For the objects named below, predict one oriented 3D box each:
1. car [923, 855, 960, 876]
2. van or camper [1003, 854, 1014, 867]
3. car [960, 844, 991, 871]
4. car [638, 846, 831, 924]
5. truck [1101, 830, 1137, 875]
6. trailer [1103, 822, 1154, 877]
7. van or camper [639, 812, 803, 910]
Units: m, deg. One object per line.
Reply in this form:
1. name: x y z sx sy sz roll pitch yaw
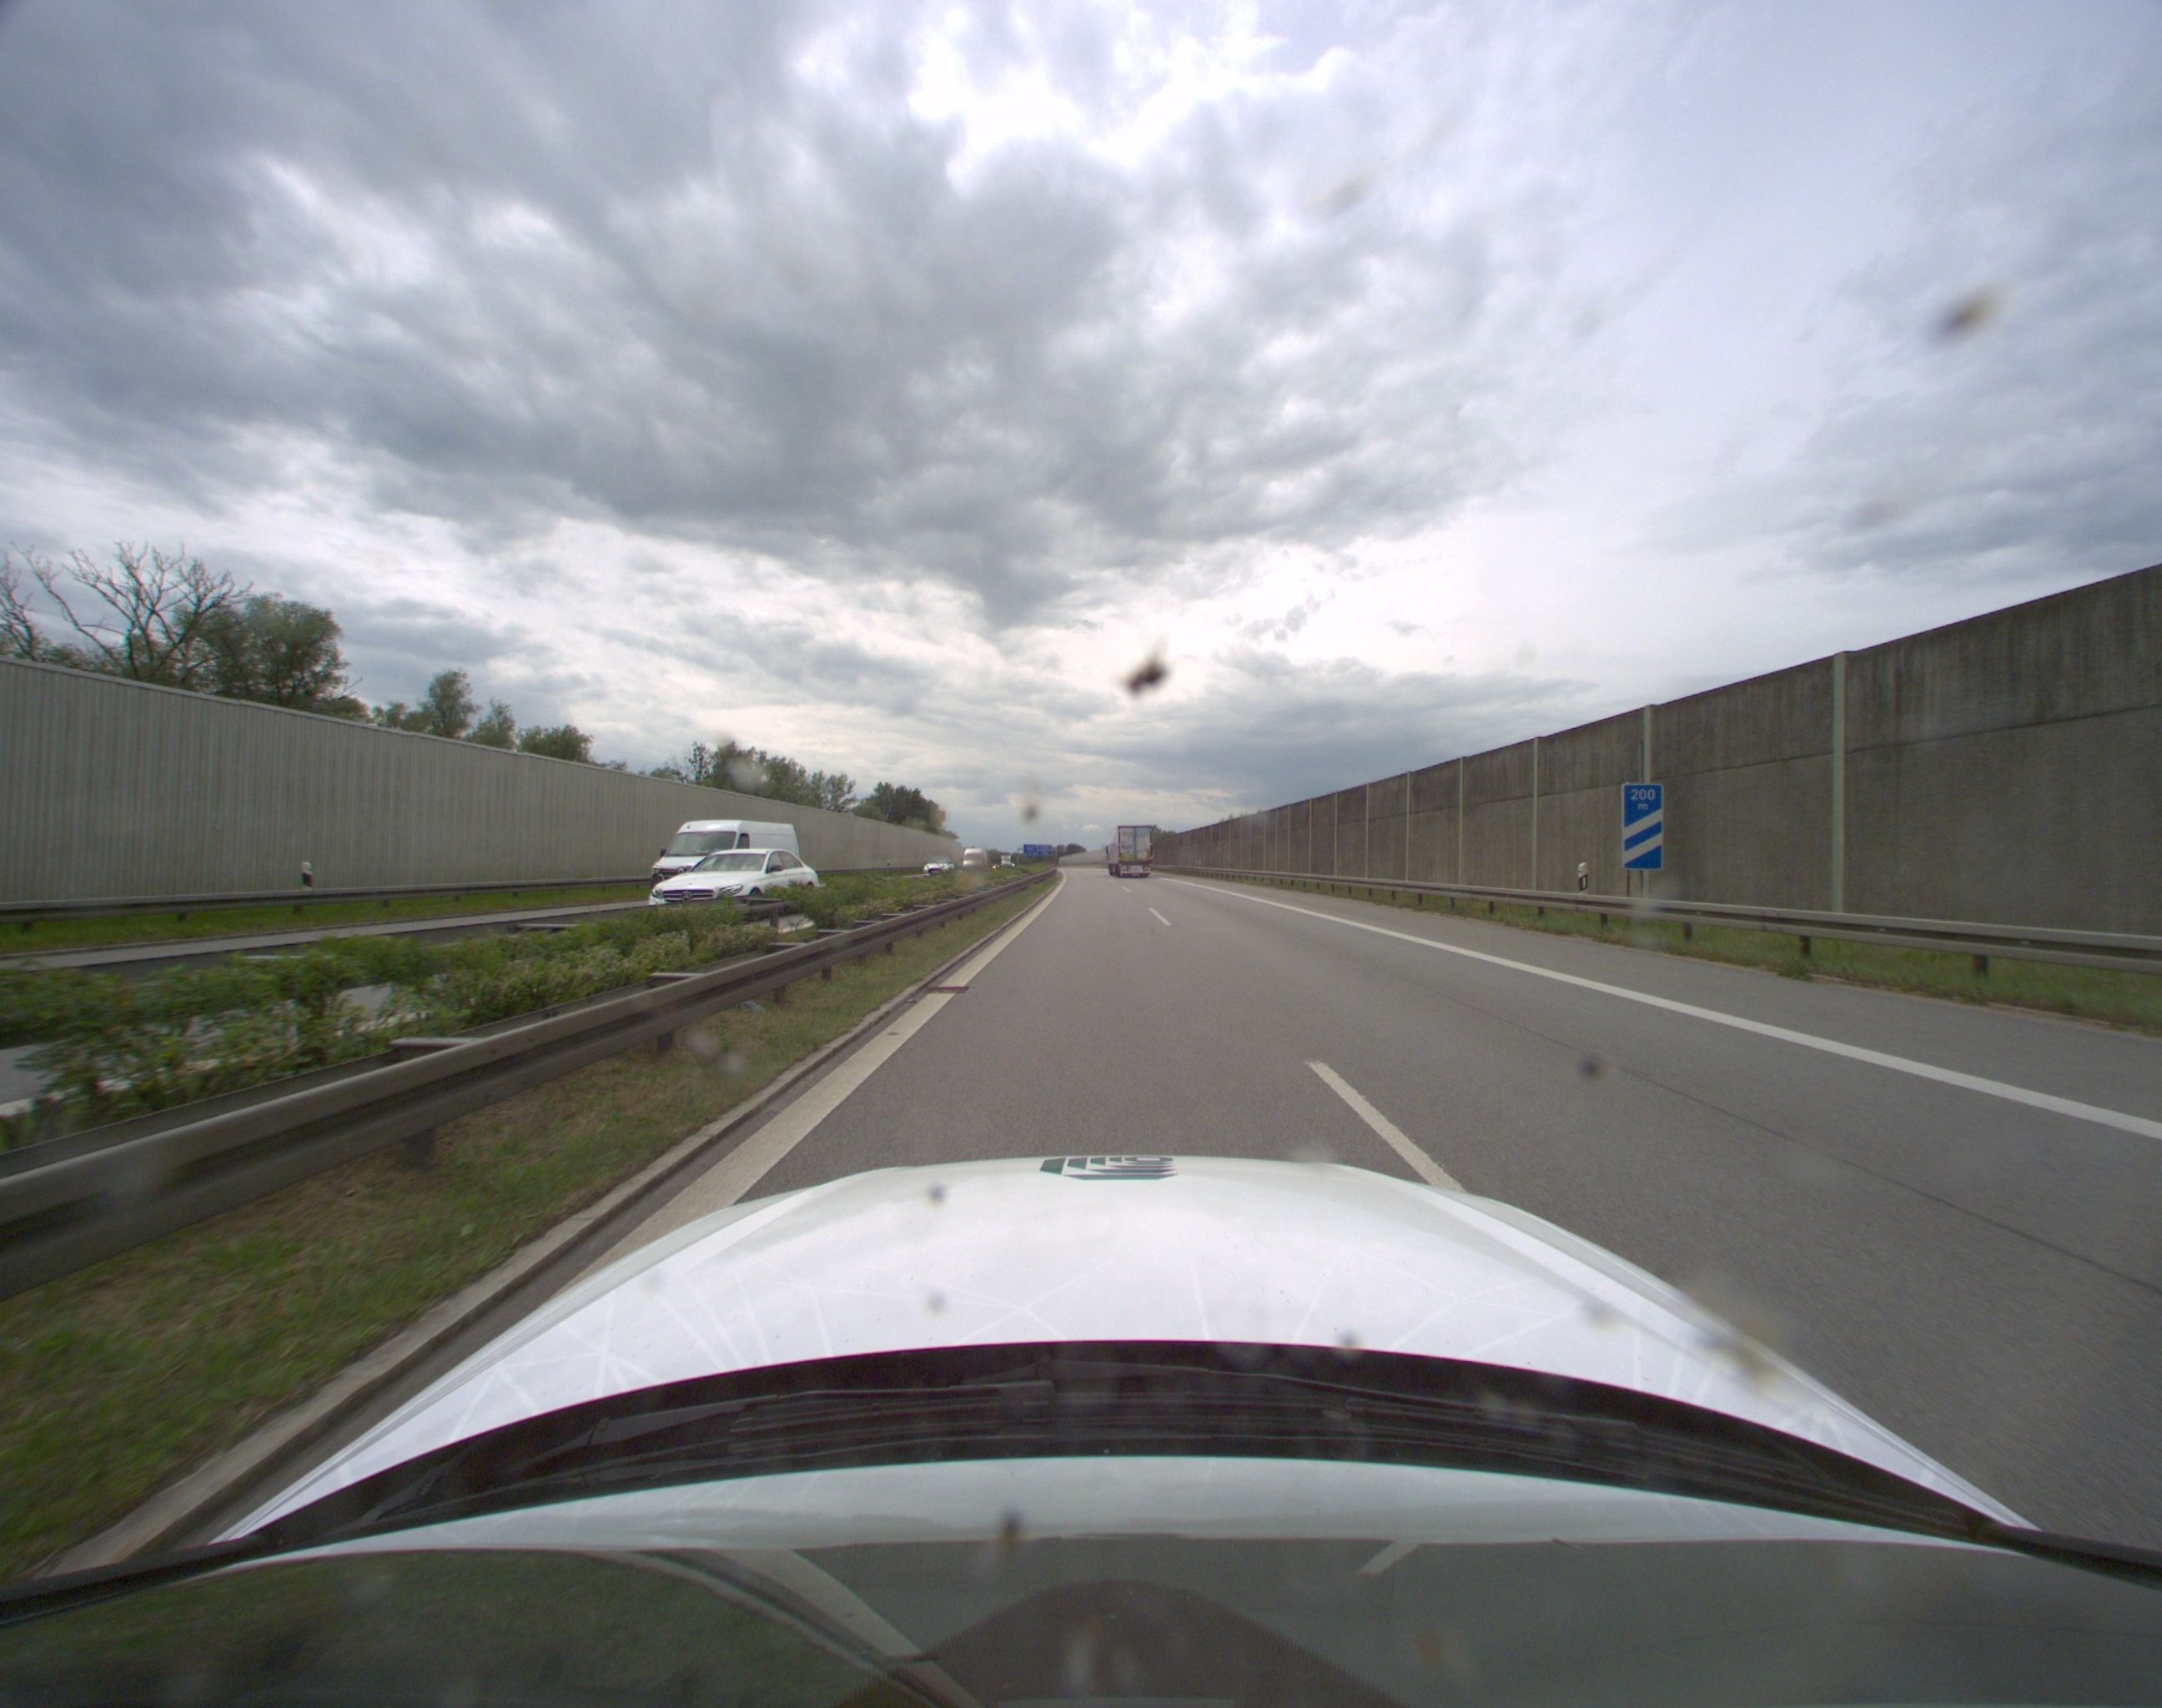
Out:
1. car: -9.982 0.829 58.696 1.858 1.403 4.499 -1 0 0
2. van or camper: -15.868 1.433 178.705 2.249 2.779 5.749 0 -1 -3
3. car: -10.206 0.353 79.189 2.104 2.455 5.683 -1 0 0
4. car: -7.032 0.568 17.210 1.798 1.414 4.970 0 0 2
5. truck: 3.439 -0.137 74.982 2.750 3.960 5.670 -1 -1 -3
6. trailer: 3.774 -0.243 68.576 2.786 4.175 14.088 -1 -1 -2
7. van or camper: -10.295 0.191 23.998 1.987 2.441 6.307 -2 0 0
